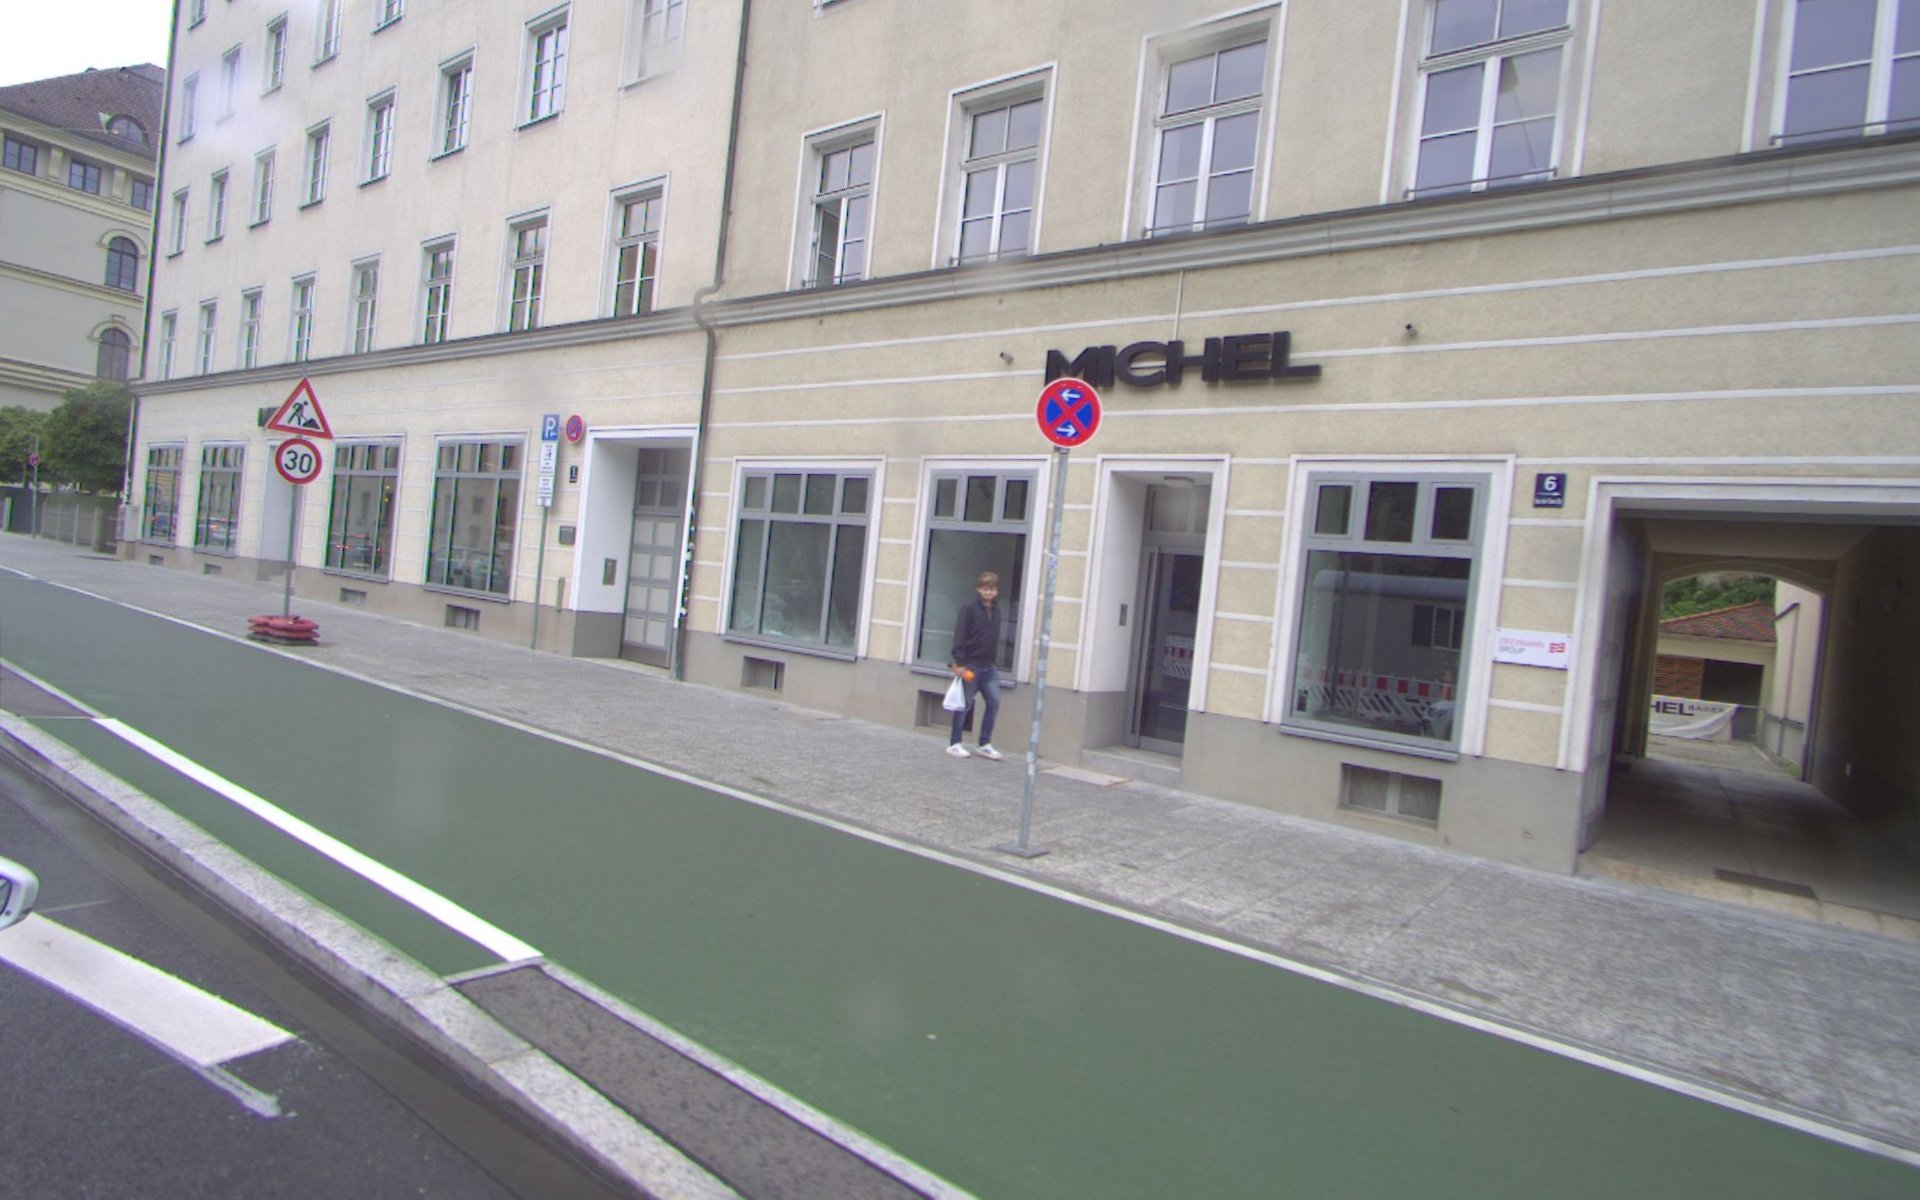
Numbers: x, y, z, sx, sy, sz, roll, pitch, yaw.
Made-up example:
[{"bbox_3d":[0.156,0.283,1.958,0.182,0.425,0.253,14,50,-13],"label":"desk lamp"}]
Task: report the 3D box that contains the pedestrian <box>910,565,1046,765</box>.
[{"bbox_3d":[0.176,0.611,9.669,0.821,1.768,0.793,7,1,37],"label":"pedestrian"}]
